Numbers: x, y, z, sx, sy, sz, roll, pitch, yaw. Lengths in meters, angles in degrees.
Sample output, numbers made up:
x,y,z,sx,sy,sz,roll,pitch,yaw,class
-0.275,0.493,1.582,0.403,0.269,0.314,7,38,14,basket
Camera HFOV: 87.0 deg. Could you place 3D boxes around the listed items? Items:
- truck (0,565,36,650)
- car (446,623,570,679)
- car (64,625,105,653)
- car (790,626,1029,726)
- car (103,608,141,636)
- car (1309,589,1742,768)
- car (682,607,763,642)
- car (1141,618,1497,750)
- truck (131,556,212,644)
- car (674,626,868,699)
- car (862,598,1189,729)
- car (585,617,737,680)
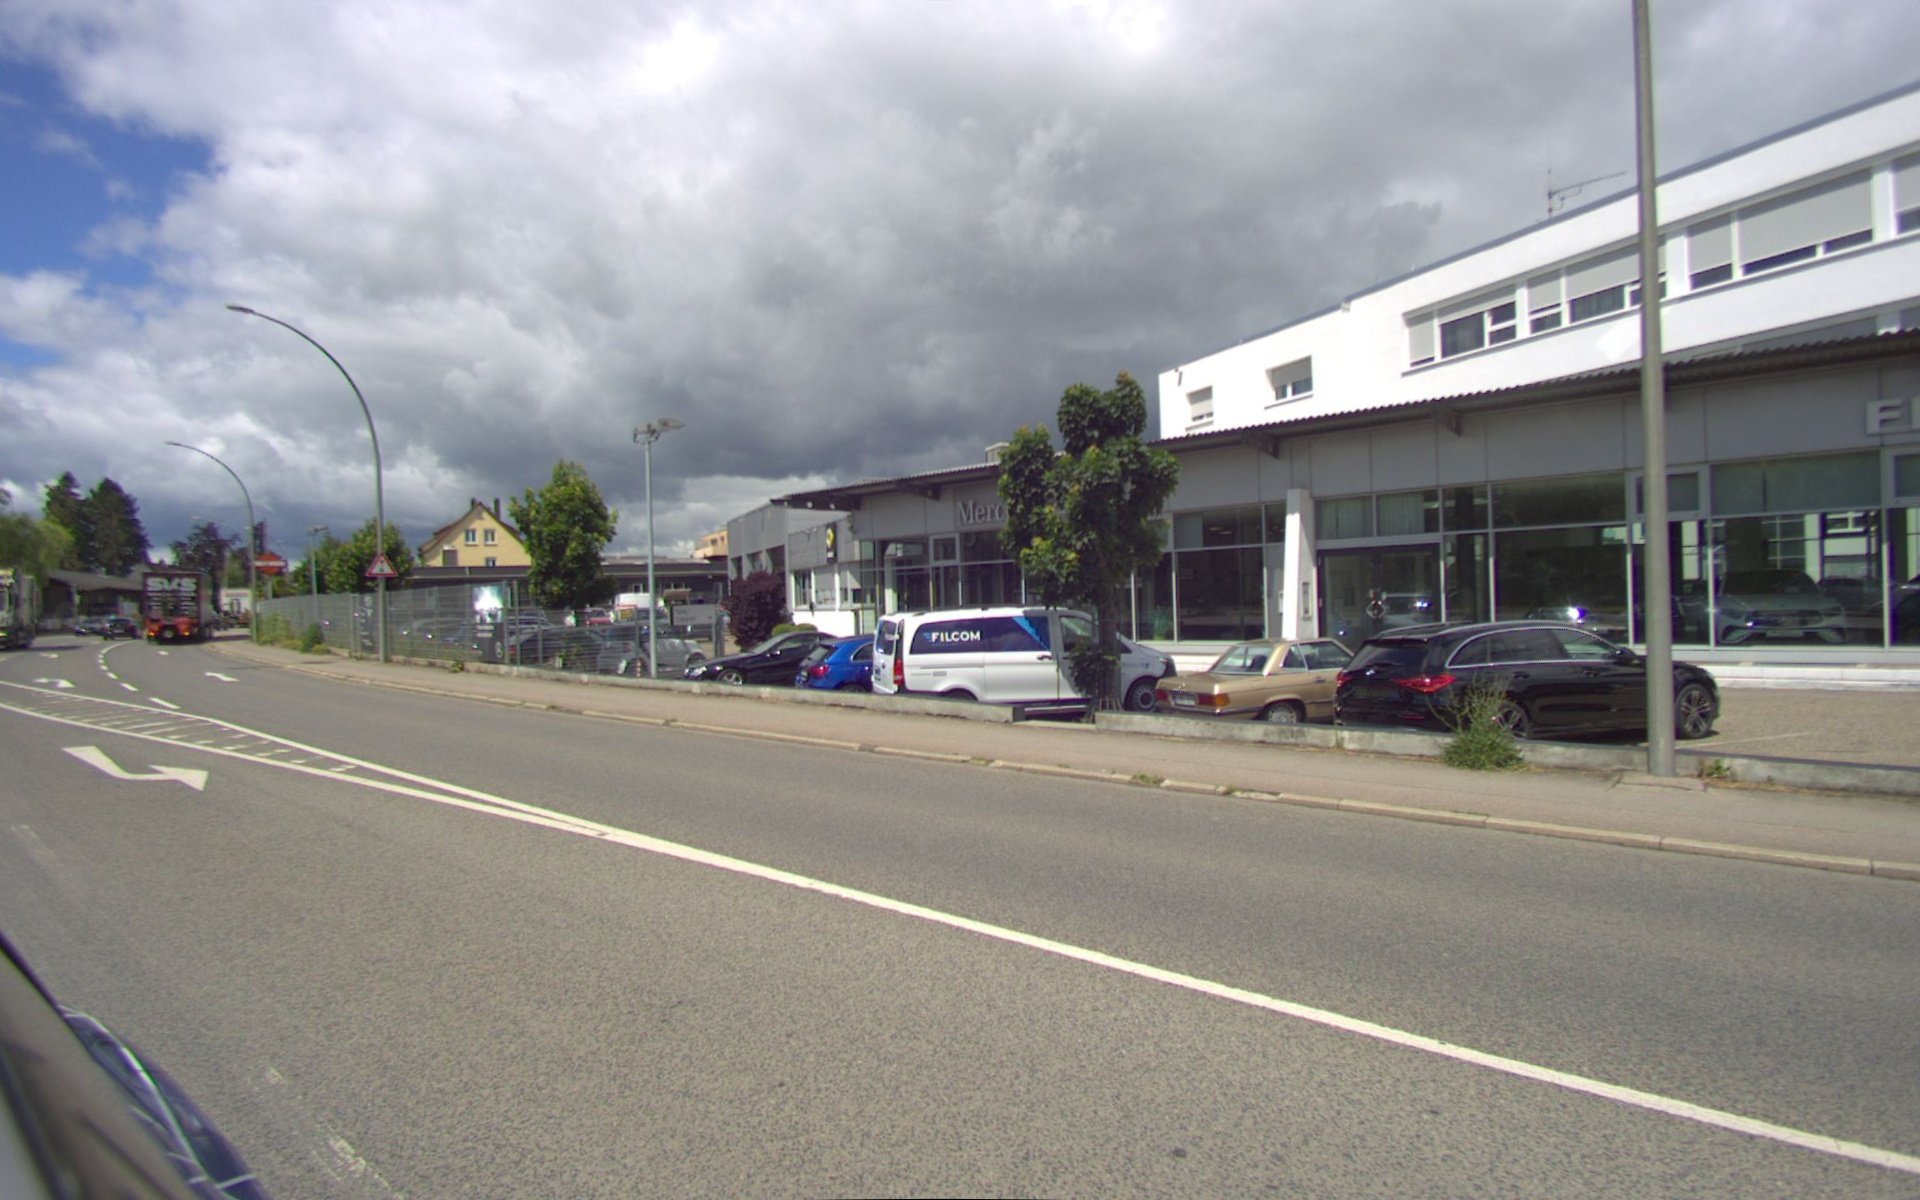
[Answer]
x,y,z,sx,sy,sz,roll,pitch,yaw,class
-46.847,0.395,48.541,2.860,3.796,9.655,-1,0,-38,truck
-14.127,1.552,31.682,3.218,1.586,1.584,0,-1,-43,car
-67.504,2.957,78.066,1.923,2.029,4.010,-1,0,-35,car
-0.933,1.287,18.121,3.887,1.437,1.809,-2,0,-18,car
-54.759,1.432,66.167,1.773,1.746,4.008,2,-2,-39,car
6.517,0.804,11.719,4.431,1.637,1.809,-2,-1,-19,car
-10.525,1.057,44.914,3.214,1.462,1.436,0,-1,-37,car
4.967,1.070,14.085,4.389,1.339,1.899,-4,0,-19,car
-45.212,0.030,58.241,2.933,4.696,8.201,-1,0,-33,truck
-4.189,1.327,22.412,3.886,1.303,1.810,-2,0,-23,car
1.015,0.933,16.298,4.875,1.852,1.898,-1,-1,-16,car
-8.153,1.286,27.758,1.658,1.474,3.613,-3,0,43,car
